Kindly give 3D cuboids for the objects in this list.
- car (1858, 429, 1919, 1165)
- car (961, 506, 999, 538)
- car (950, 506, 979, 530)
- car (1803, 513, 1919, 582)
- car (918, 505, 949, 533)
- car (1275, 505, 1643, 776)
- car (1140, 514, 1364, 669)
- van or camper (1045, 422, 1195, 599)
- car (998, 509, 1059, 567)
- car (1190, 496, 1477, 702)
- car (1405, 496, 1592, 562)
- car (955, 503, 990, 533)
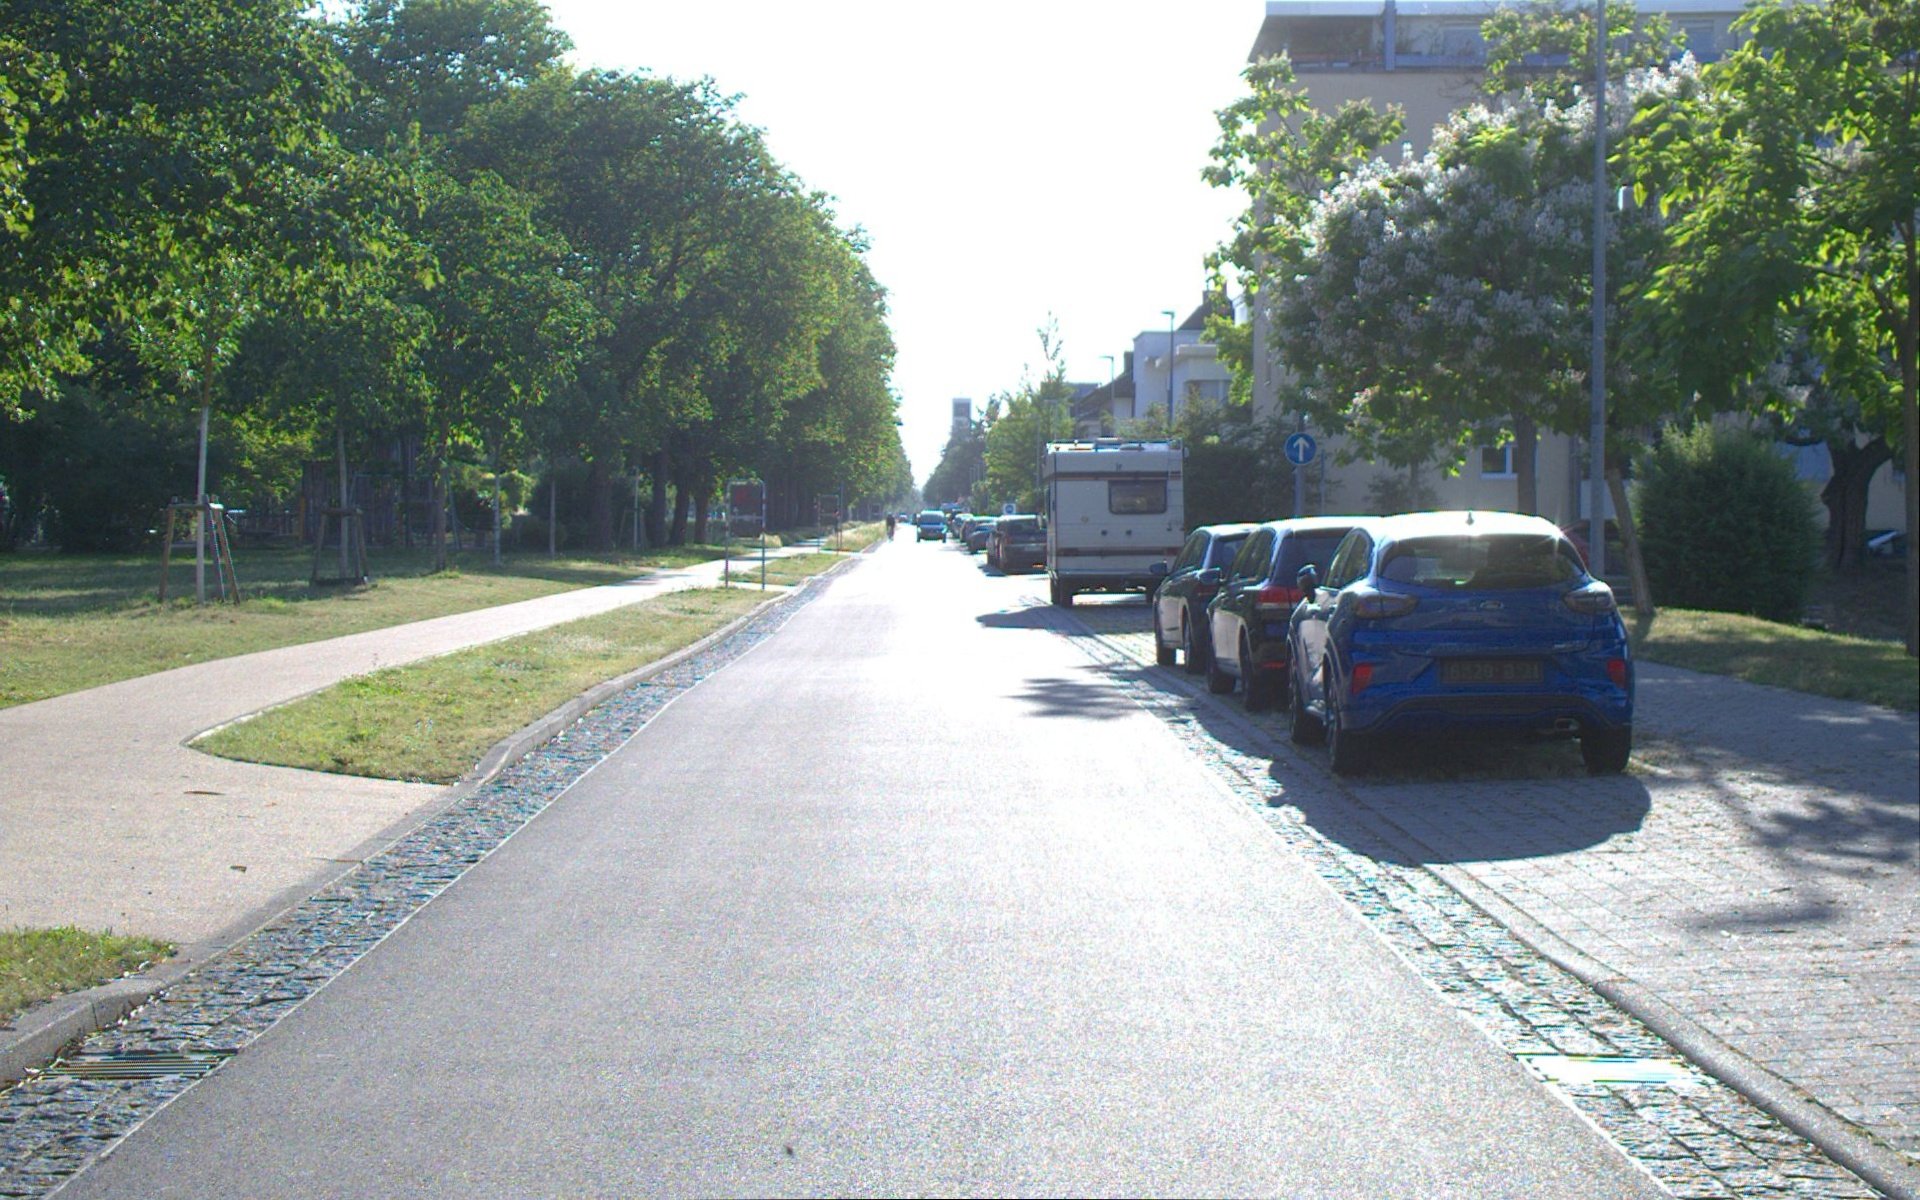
[{"bbox_3d":[3.131,0.506,6.370,1.678,1.734,4.514,0,1,-1],"label":"car"},{"bbox_3d":[0.886,-3.504,154.309,1.626,1.405,4.250,0,1,-1],"label":"car"},{"bbox_3d":[0.242,-4.805,202.006,1.626,1.405,4.250,0,1,-1],"label":"car"},{"bbox_3d":[20.264,-1.124,73.755,4.198,1.457,1.692,0,1,15],"label":"car"},{"bbox_3d":[-1.587,-4.798,204.102,1.825,1.663,4.250,0,1,-1],"label":"car"},{"bbox_3d":[3.047,0.185,21.789,1.732,1.545,4.276,0,1,0],"label":"car"},{"bbox_3d":[2.871,-0.126,34.623,1.626,1.459,4.250,0,1,-4],"label":"car"},{"bbox_3d":[2.690,-1.493,59.150,2.234,2.894,5.673,0,0,-1],"label":"van or camper"},{"bbox_3d":[1.976,-1.833,100.617,1.626,1.663,4.250,0,1,-1],"label":"car"},{"bbox_3d":[2.953,-0.059,28.038,1.731,1.545,4.423,0,1,-2],"label":"car"},{"bbox_3d":[12.686,-1.688,81.198,4.195,1.525,2.000,0,1,4],"label":"car"},{"bbox_3d":[0.590,-3.952,165.859,1.626,1.405,4.250,0,1,-1],"label":"car"}]
